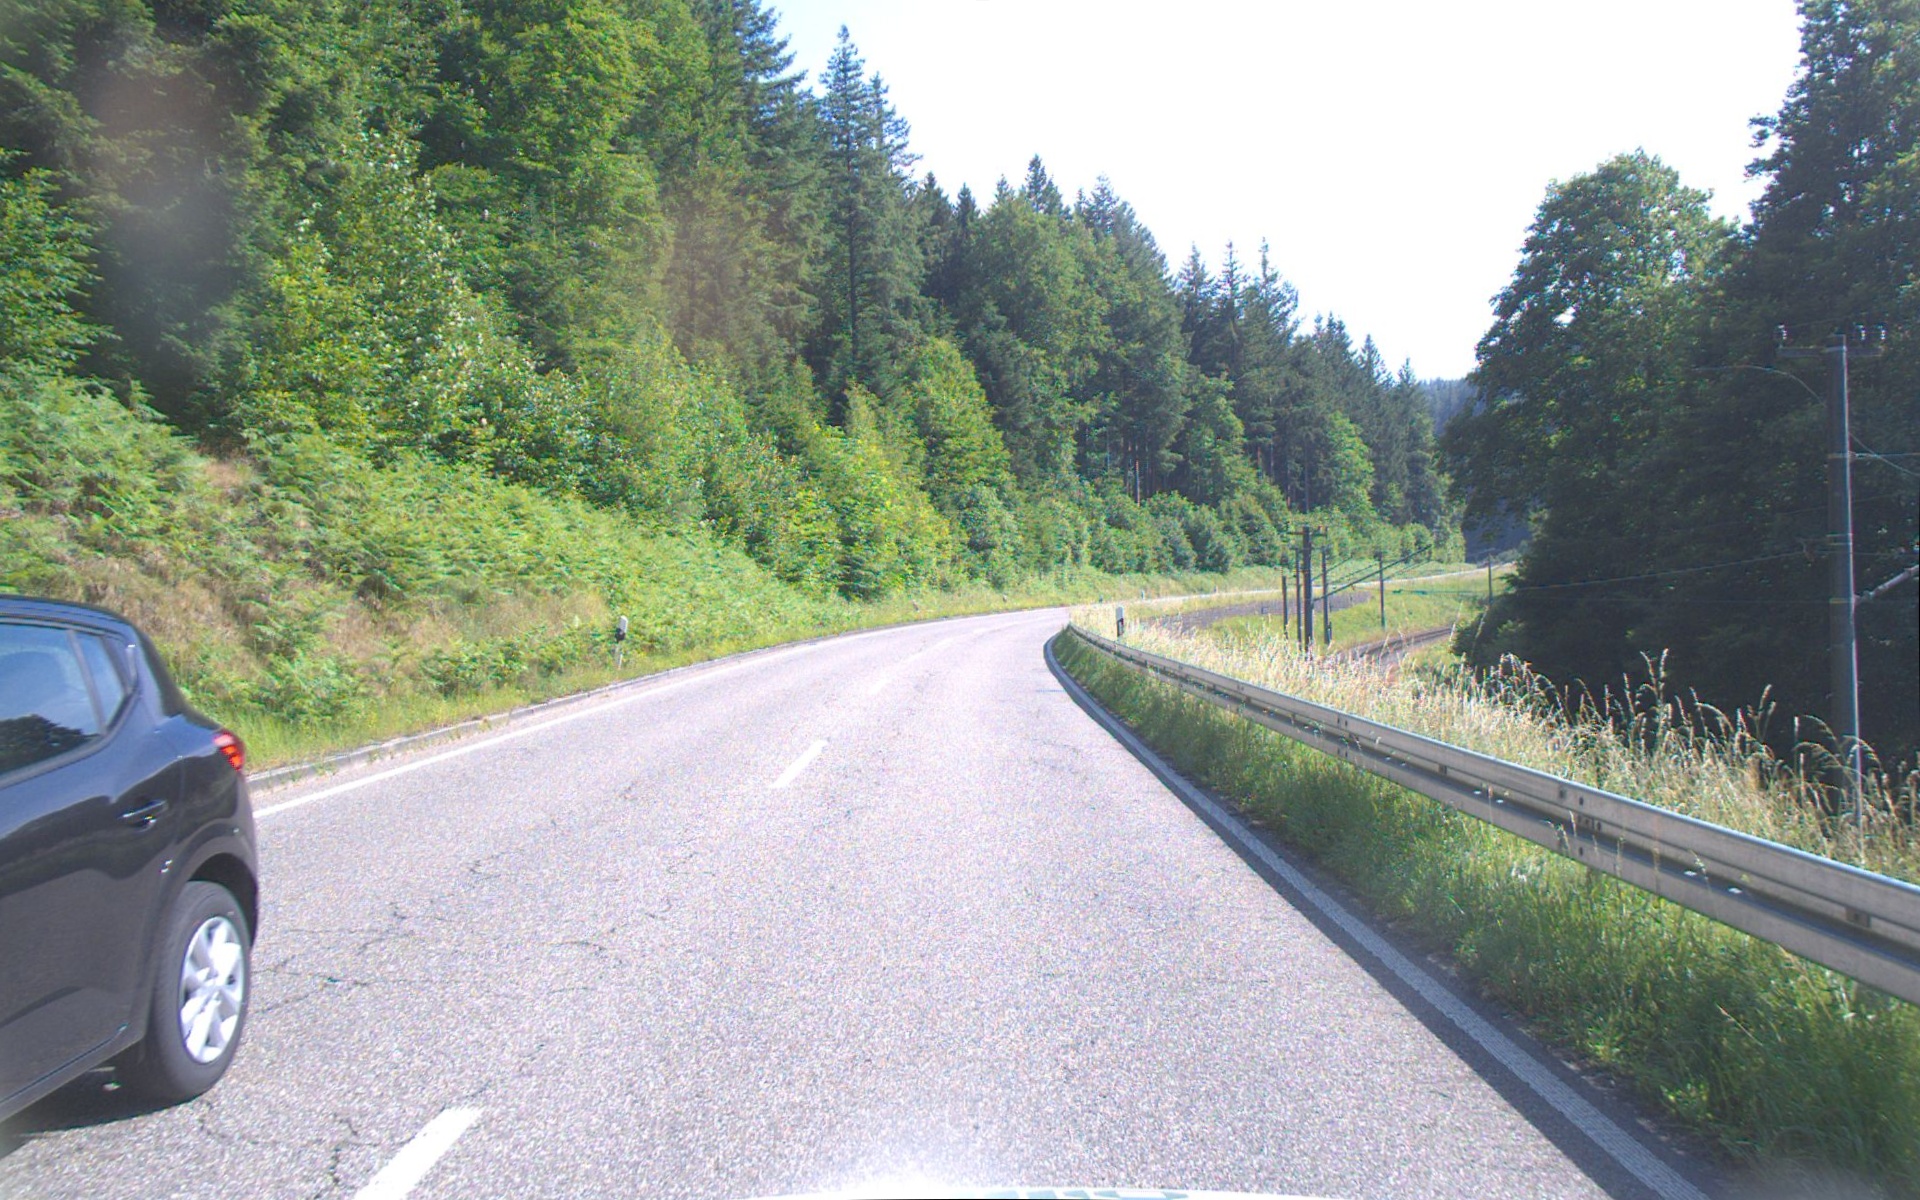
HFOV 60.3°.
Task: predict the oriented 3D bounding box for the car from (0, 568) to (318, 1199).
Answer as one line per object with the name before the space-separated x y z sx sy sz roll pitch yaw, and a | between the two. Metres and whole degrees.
car | -3.064 0.721 3.582 1.820 1.556 3.999 -1 0 -1
